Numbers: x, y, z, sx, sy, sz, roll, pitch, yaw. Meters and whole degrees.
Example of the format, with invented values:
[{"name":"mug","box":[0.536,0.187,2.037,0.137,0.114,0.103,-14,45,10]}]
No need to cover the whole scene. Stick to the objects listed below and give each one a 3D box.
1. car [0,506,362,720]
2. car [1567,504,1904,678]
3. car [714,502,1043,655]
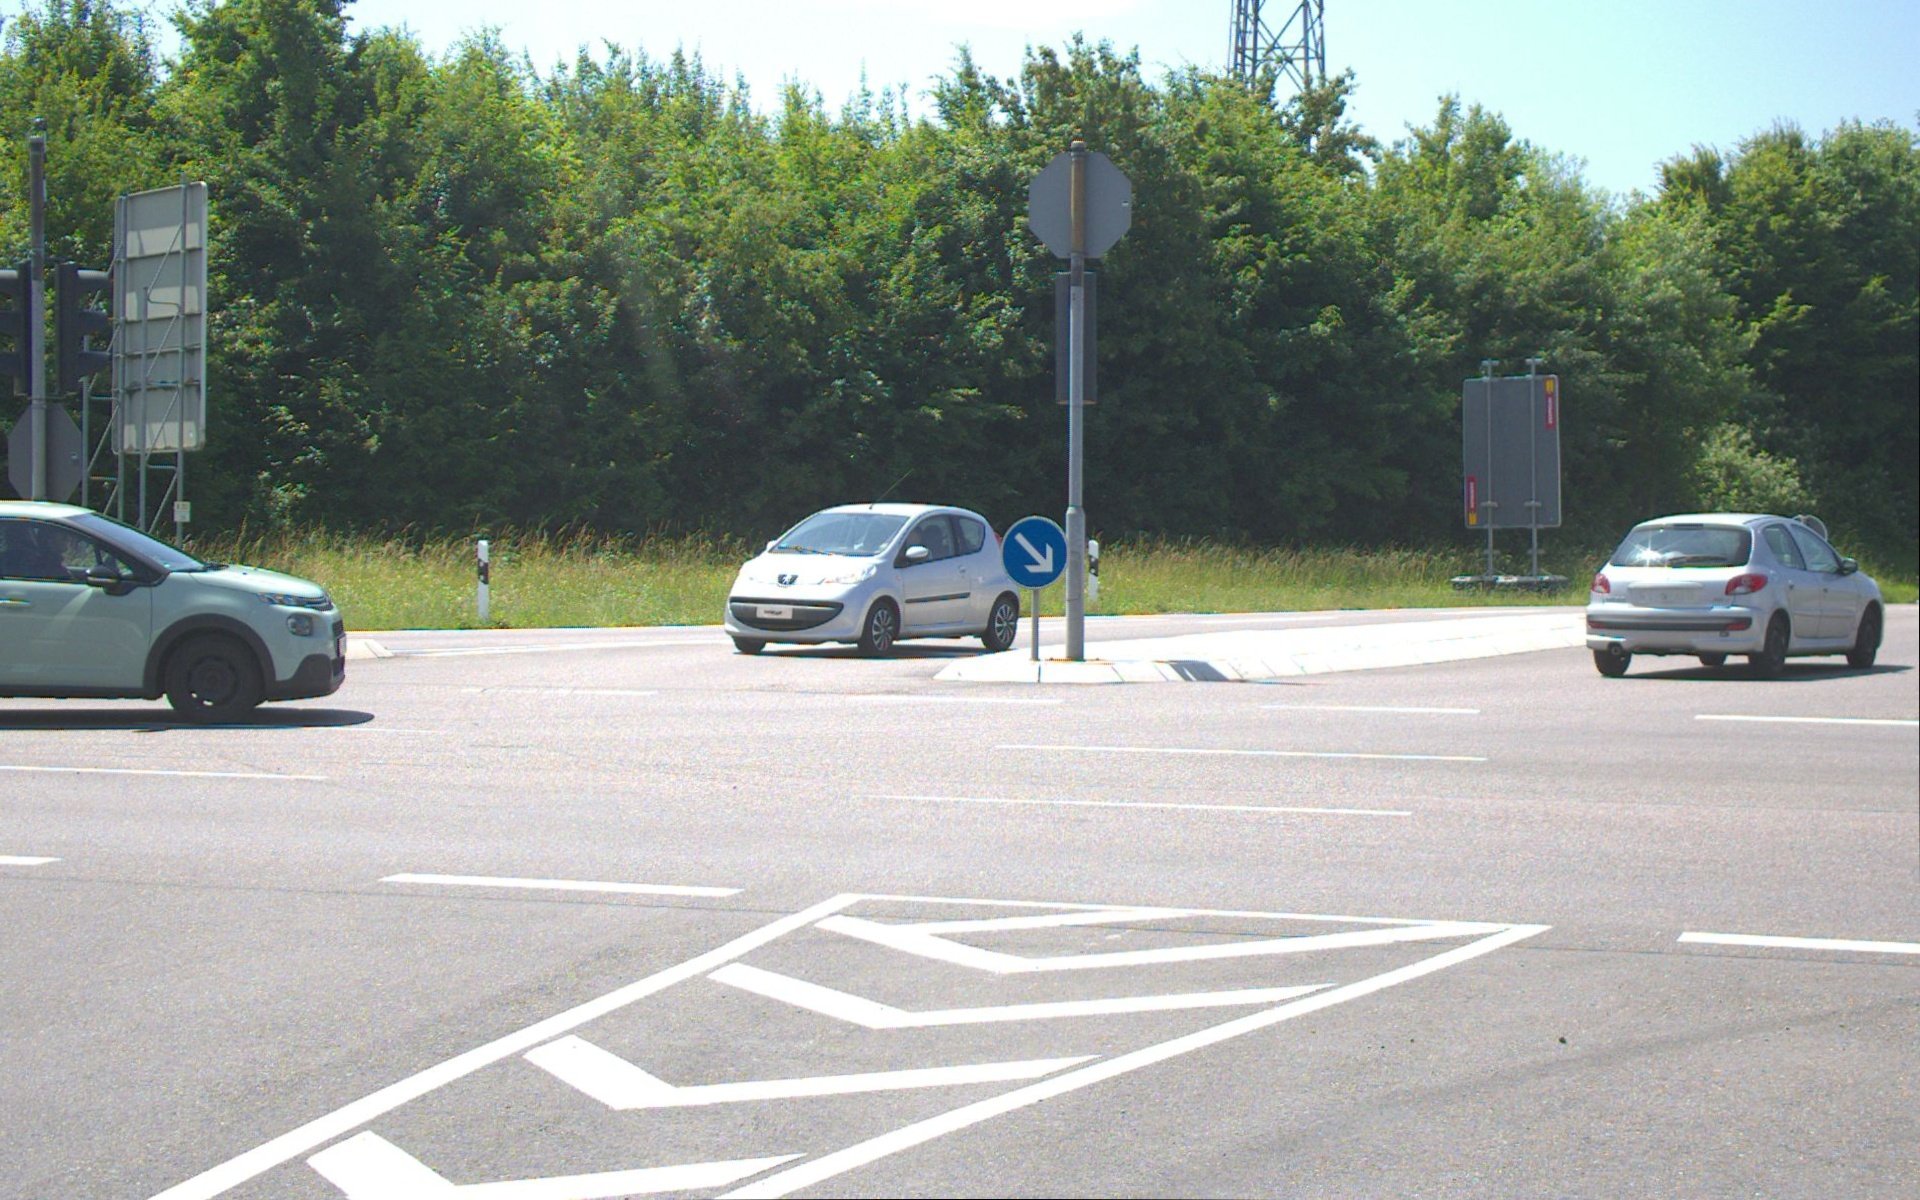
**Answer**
[{"name":"car","box":[-6.229,0.062,23.701,3.973,1.399,1.735,0,2,-3]},{"name":"car","box":[6.995,-0.131,30.763,1.816,1.408,3.777,2,3,31]},{"name":"car","box":[-0.748,-0.254,33.656,1.568,1.366,3.525,2,3,31]}]
